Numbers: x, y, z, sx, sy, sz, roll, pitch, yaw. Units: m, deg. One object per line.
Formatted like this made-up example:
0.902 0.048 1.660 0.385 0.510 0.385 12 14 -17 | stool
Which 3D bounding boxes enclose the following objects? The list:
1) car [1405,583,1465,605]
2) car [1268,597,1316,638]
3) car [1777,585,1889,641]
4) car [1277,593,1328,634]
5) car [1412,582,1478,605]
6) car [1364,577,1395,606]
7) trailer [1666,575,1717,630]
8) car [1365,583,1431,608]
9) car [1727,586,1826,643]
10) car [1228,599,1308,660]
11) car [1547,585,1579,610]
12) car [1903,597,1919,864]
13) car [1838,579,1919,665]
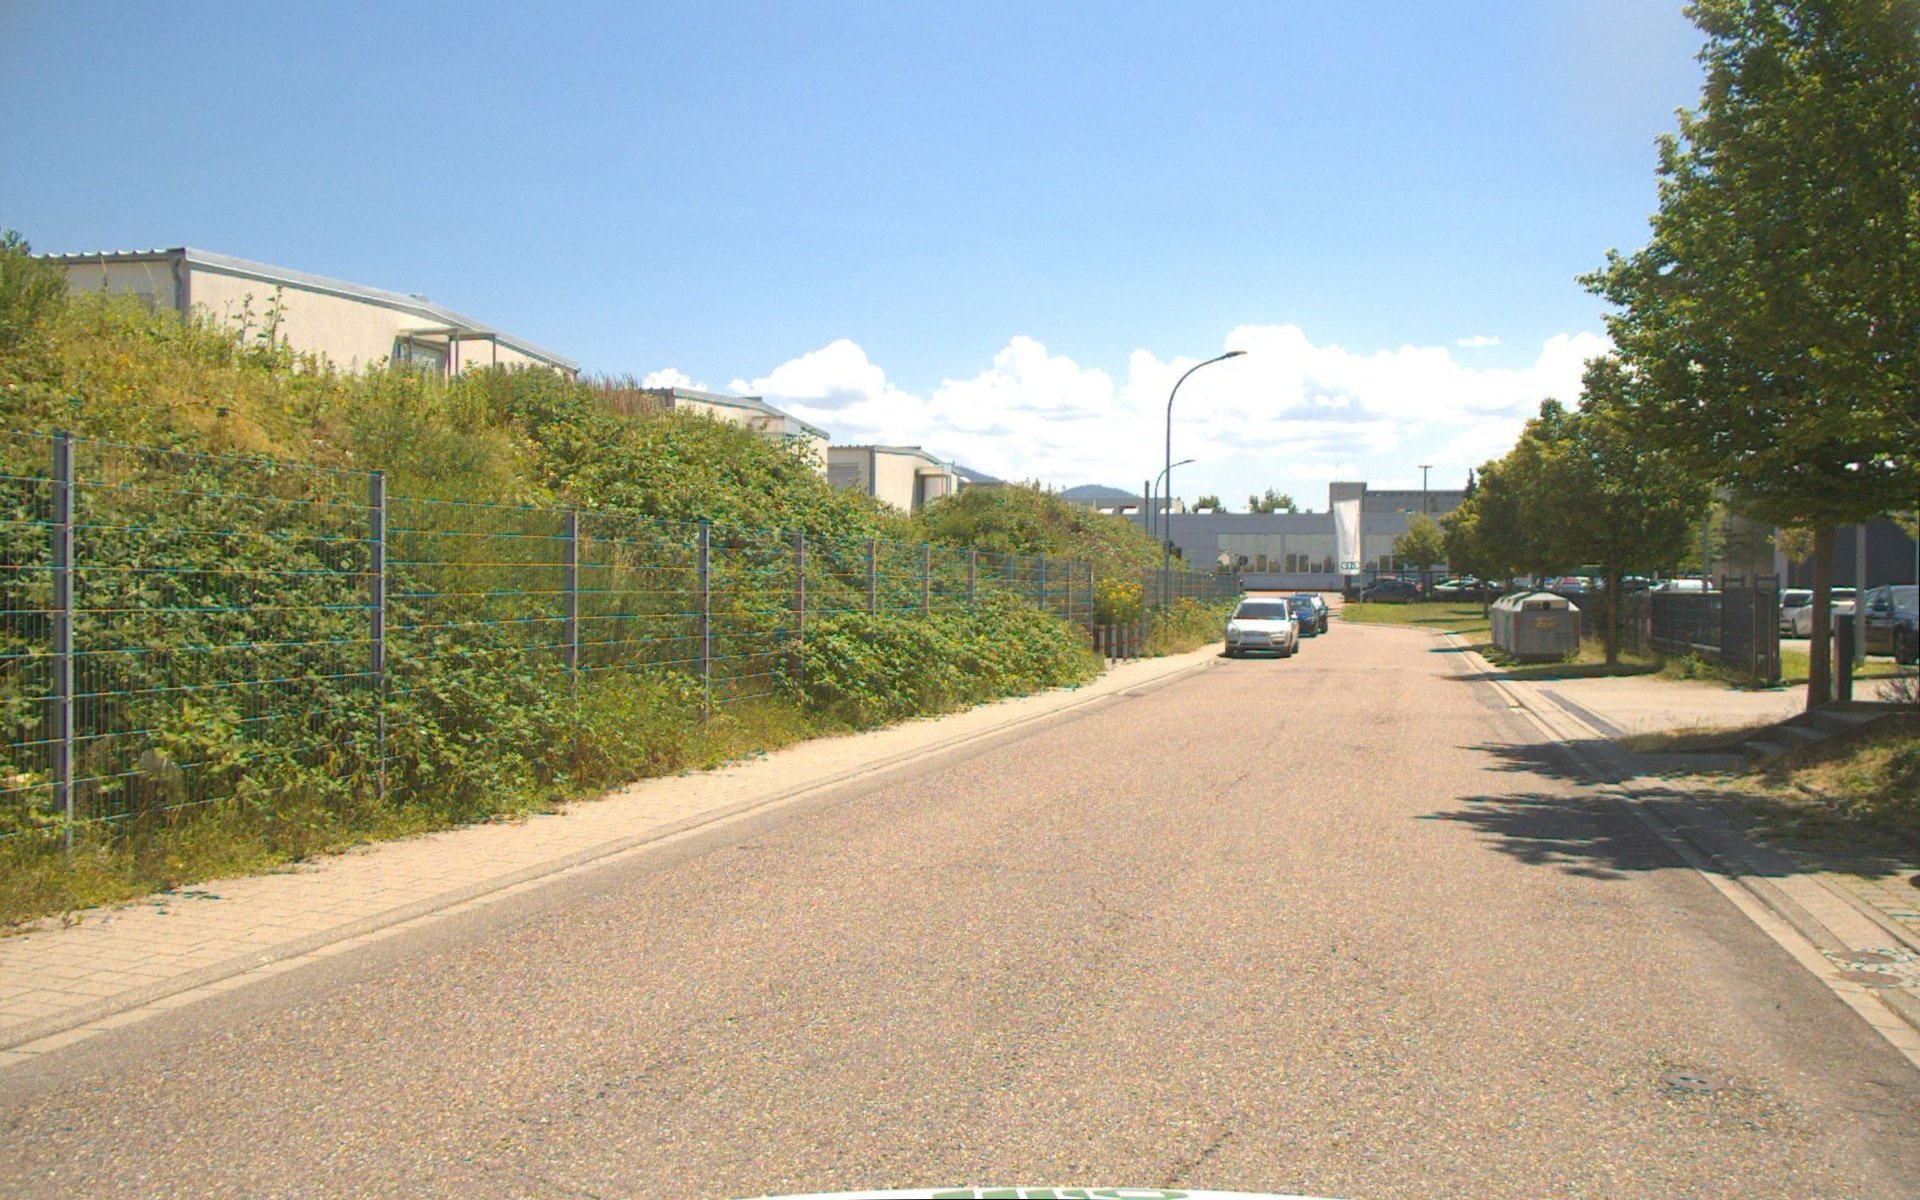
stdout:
32.731 -0.440 113.982 3.902 1.423 2.001 0 -2 13 | car
12.374 0.628 61.547 1.621 1.442 4.149 0 0 13 | car
24.322 0.385 46.225 1.751 1.458 4.146 0 -2 13 | car
13.841 0.517 66.673 1.795 1.573 4.267 0 0 15 | car
30.910 -0.415 105.458 3.902 1.423 2.001 0 -2 13 | car
28.280 -0.564 111.571 1.951 1.859 4.003 0 -2 13 | car
29.538 0.087 66.874 1.461 2.041 3.267 0 3 16 | trailer
26.819 -0.272 101.387 3.902 1.423 2.001 0 -2 13 | car
25.287 0.413 51.388 1.751 1.557 4.426 0 2 13 | car
8.424 0.750 45.016 1.795 1.573 4.370 0 0 15 | car
47.164 -0.198 129.361 1.951 1.859 4.002 0 -2 15 | car
7.224 0.713 8.372 3.902 1.521 1.726 -1 -1 13 | car
17.867 0.446 30.609 1.751 1.480 4.413 0 -2 13 | car
